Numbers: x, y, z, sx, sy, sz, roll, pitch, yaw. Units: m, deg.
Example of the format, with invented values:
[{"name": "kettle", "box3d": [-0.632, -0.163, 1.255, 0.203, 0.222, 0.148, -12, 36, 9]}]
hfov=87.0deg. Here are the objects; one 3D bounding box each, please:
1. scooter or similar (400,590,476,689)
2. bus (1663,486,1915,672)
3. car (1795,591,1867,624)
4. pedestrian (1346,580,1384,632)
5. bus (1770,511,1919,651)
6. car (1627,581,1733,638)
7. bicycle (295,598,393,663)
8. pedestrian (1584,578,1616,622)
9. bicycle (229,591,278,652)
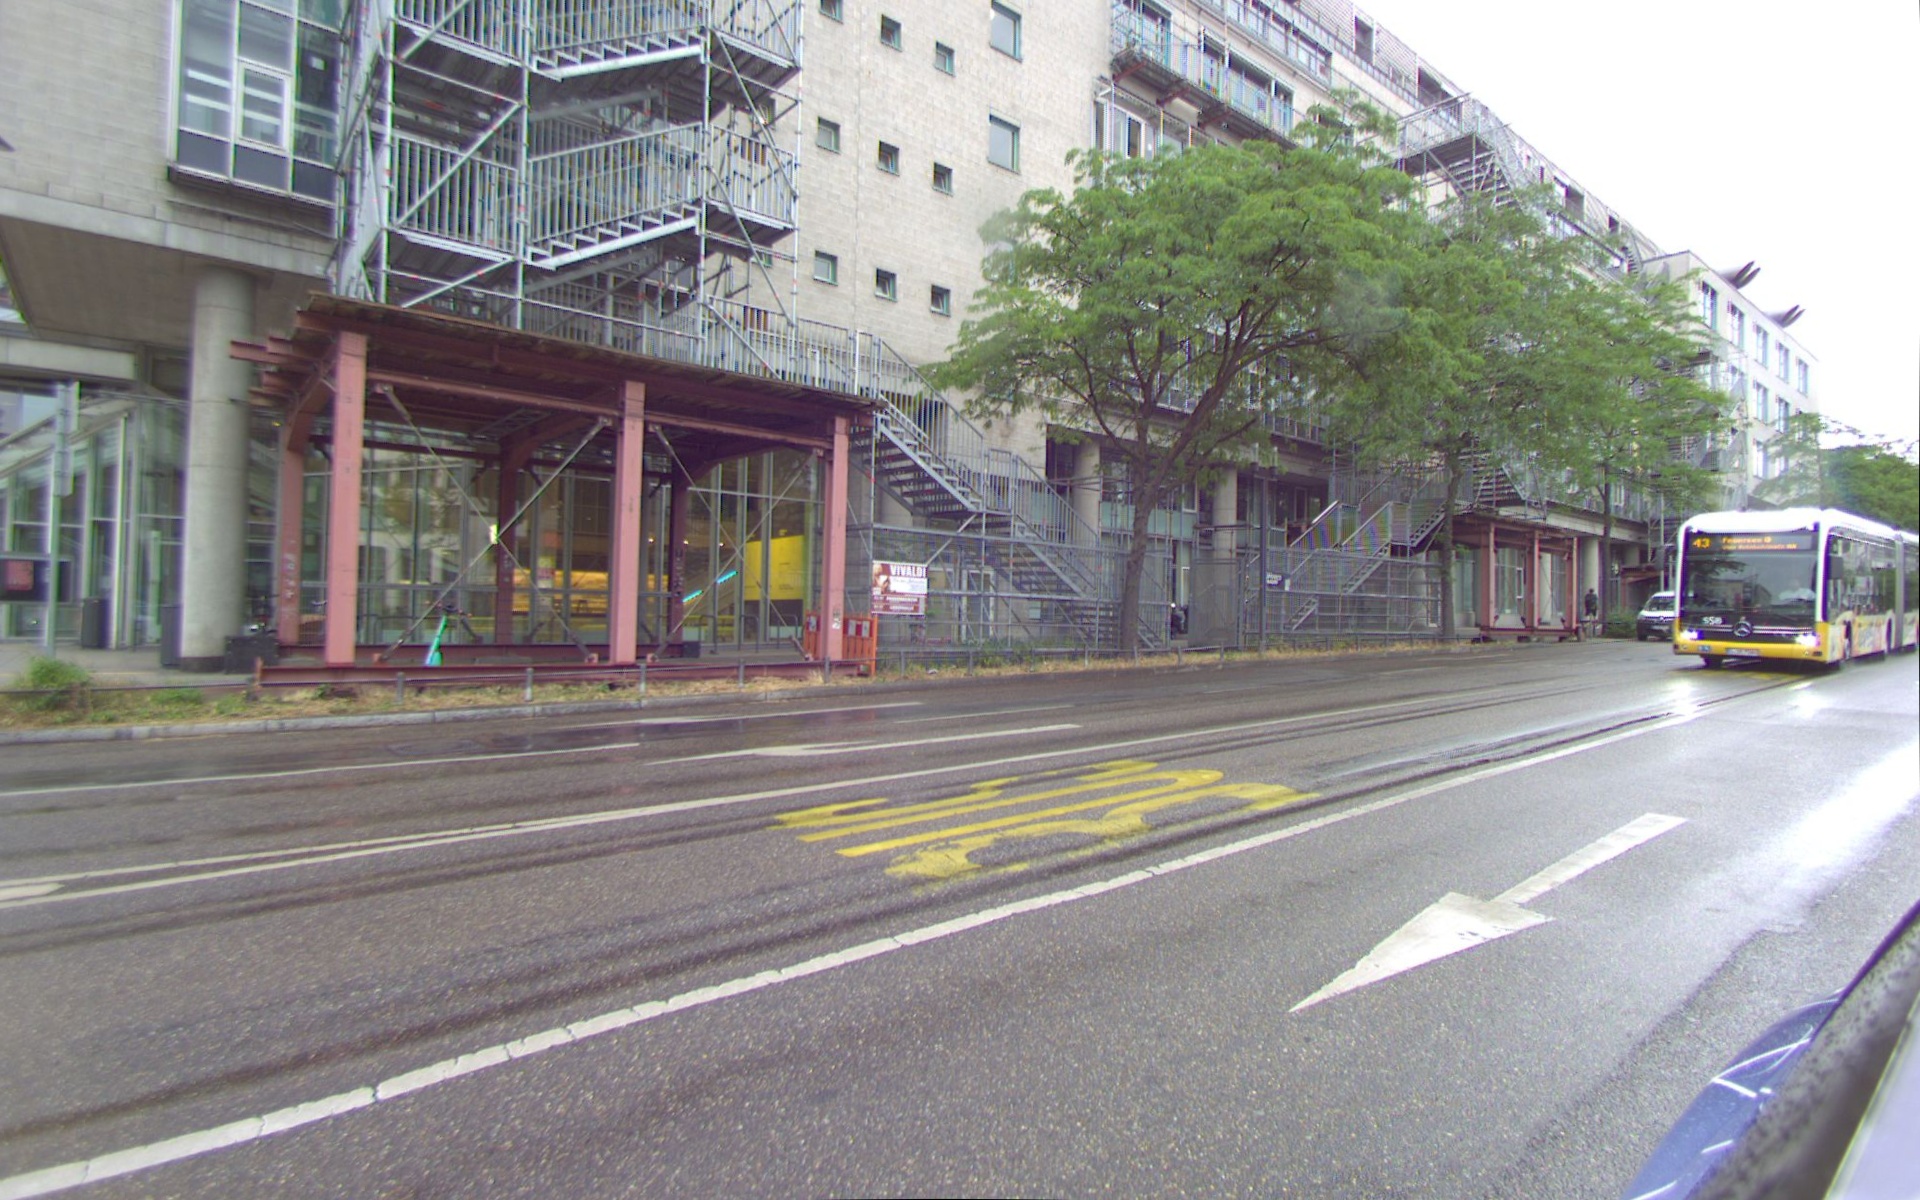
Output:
[{"name": "scooter or similar", "box3d": [-6.936, 0.484, 13.414, 0.576, 1.209, 1.782, 1, 0, -38]}, {"name": "bus", "box3d": [19.276, -0.445, 23.215, 9.586, 3.494, 2.888, -1, 0, -41]}, {"name": "car", "box3d": [44.362, 0.367, 51.528, 4.733, 1.580, 2.145, -1, 1, -41]}, {"name": "pedestrian", "box3d": [14.681, 0.206, 36.681, 0.832, 1.822, 1.007, 0, 0, -44]}, {"name": "bus", "box3d": [26.505, -0.537, 29.471, 9.541, 3.483, 2.888, -1, 0, -41]}, {"name": "car", "box3d": [26.069, 0.298, 36.589, 4.254, 1.930, 2.211, -1, 0, -41]}, {"name": "bicycle", "box3d": [-11.984, 0.570, 19.739, 0.580, 1.209, 1.602, 0, 0, 24]}, {"name": "pedestrian", "box3d": [30.157, 0.010, 47.680, 1.021, 2.039, 1.009, 0, 0, -41]}, {"name": "bicycle", "box3d": [-14.466, 0.419, 20.705, 0.577, 1.209, 1.611, 0, 0, -44]}]
